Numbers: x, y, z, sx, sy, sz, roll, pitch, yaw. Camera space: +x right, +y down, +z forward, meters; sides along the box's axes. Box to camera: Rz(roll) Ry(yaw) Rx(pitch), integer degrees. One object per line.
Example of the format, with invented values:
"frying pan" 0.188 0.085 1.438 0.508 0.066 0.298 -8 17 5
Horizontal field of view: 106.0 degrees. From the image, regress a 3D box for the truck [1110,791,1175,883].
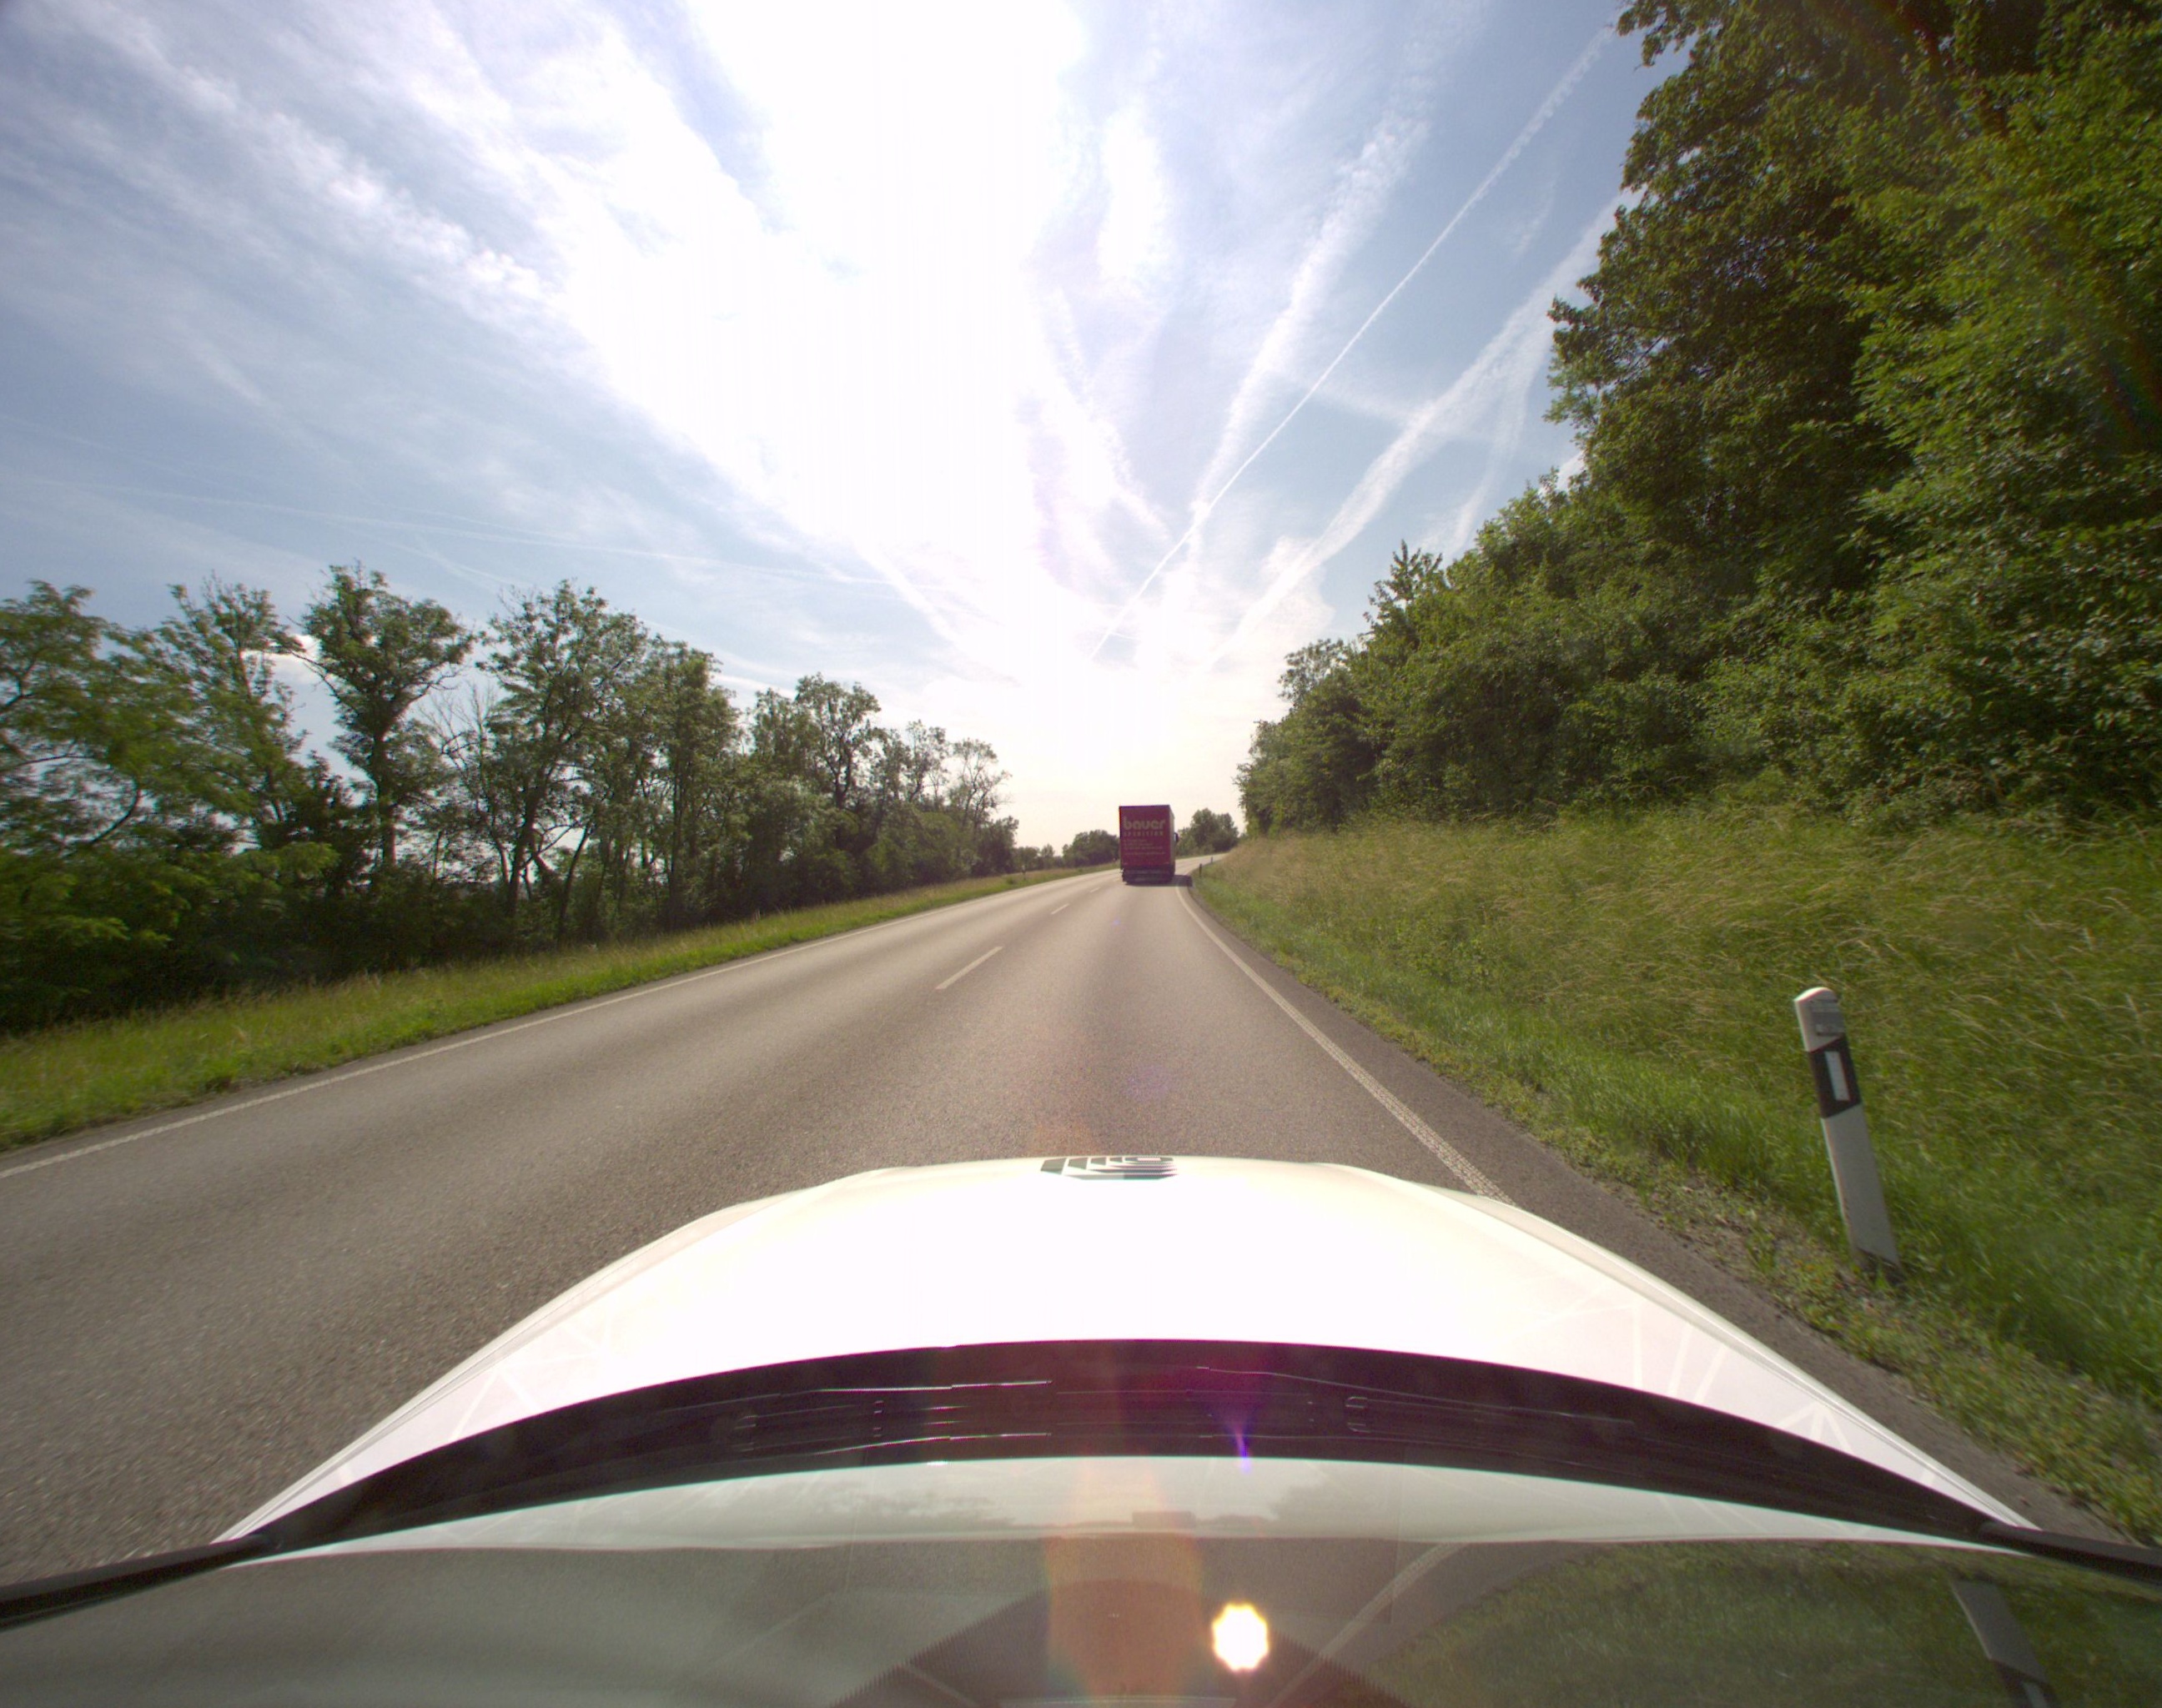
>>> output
"truck" 3.709 -0.850 46.293 3.096 4.505 12.190 -1 0 6
